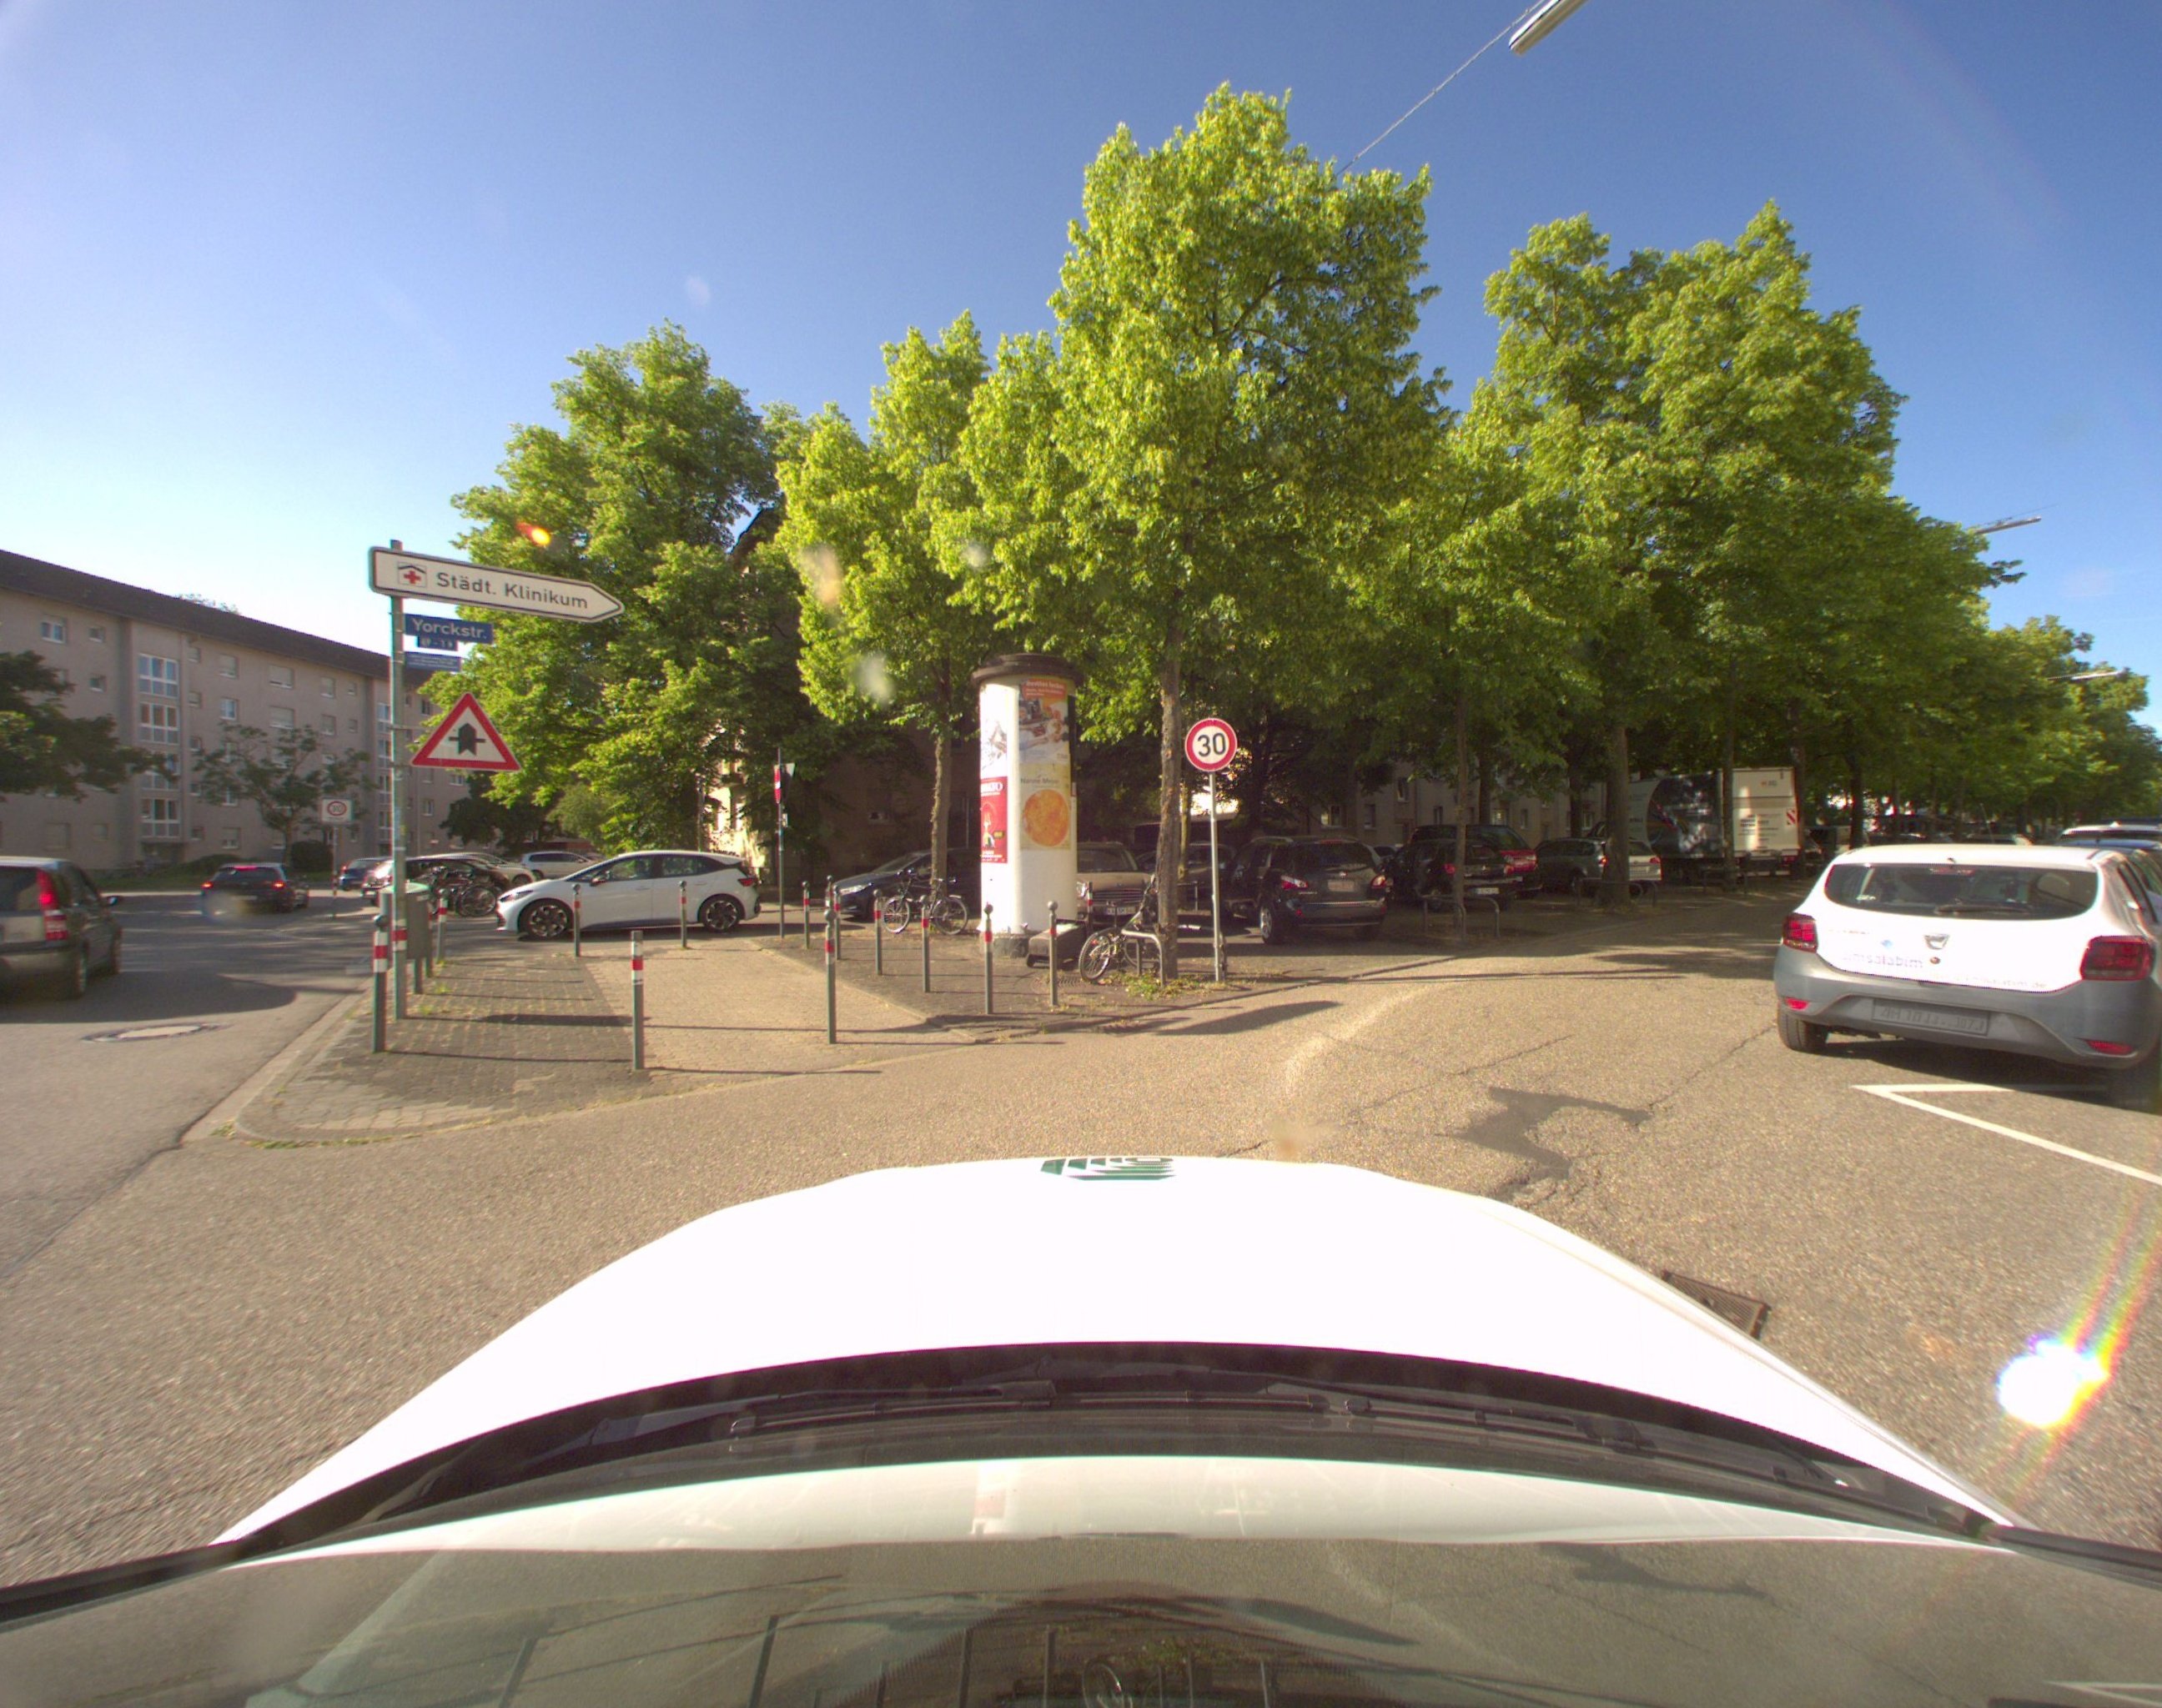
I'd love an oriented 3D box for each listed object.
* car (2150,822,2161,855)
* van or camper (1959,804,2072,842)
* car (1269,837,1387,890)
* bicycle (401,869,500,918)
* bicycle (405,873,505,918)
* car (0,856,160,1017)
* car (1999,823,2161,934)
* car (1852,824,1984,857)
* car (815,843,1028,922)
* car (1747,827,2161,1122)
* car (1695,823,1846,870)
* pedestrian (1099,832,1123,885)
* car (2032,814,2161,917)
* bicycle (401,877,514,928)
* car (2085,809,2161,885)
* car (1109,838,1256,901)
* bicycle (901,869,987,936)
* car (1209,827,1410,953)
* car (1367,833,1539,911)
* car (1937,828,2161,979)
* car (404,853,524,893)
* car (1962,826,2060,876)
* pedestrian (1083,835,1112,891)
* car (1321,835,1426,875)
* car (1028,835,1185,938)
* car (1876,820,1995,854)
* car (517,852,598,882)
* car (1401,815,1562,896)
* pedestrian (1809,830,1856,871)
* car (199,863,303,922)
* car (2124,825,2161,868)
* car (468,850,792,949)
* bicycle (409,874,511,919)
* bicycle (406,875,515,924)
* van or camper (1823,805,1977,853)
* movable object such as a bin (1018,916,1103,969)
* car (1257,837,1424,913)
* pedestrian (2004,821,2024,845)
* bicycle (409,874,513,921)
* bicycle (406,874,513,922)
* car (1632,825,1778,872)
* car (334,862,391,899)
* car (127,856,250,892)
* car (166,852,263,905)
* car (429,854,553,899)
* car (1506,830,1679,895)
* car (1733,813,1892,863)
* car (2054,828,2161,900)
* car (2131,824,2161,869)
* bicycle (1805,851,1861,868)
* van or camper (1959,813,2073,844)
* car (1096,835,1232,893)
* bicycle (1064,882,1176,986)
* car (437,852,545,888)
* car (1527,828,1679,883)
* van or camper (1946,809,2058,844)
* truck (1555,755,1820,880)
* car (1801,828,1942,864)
[{"bbox_3d":[52.424,-0.772,38.859,4.178,1.528,1.708,-2,1,-38],"label":"car"},{"bbox_3d":[85.983,-2.775,75.125,2.484,3.240,6.664,-1,0,-6],"label":"van or camper"},{"bbox_3d":[7.788,0.253,25.515,3.971,1.486,1.738,-2,1,-42],"label":"car"},{"bbox_3d":[-17.042,1.030,22.049,2.046,1.177,0.660,-3,1,-44],"label":"bicycle"},{"bbox_3d":[-16.548,1.074,21.578,2.046,1.031,0.443,-3,1,-44],"label":"bicycle"},{"bbox_3d":[-11.796,0.830,9.042,1.630,1.561,3.219,-2,1,-41],"label":"car"},{"bbox_3d":[15.714,0.275,12.662,4.463,1.463,1.787,-2,1,-40],"label":"car"},{"bbox_3d":[39.894,-0.649,38.999,1.706,1.461,4.420,0,1,-2],"label":"car"},{"bbox_3d":[-3.541,0.562,18.420,4.318,1.518,1.888,-2,1,-35],"label":"car"},{"bbox_3d":[6.761,0.589,6.072,4.039,1.497,1.706,-2,1,-34],"label":"car"},{"bbox_3d":[24.067,-0.299,28.635,1.724,1.506,4.104,-1,1,-3],"label":"car"},{"bbox_3d":[0.974,0.143,26.722,0.738,1.735,0.539,-1,0,-2],"label":"pedestrian"},{"bbox_3d":[19.848,0.147,15.674,4.531,1.753,1.748,-2,1,-37],"label":"car"},{"bbox_3d":[-14.720,1.123,19.275,2.046,1.031,0.564,-3,1,-44],"label":"bicycle"},{"bbox_3d":[28.680,-0.233,21.820,4.866,1.900,1.934,-2,1,-35],"label":"car"},{"bbox_3d":[2.785,0.361,21.851,3.971,1.486,1.738,-2,1,-42],"label":"car"},{"bbox_3d":[-2.421,0.830,14.508,0.349,1.072,1.602,-1,1,44],"label":"bicycle"},{"bbox_3d":[3.553,0.421,13.577,1.828,1.671,4.330,-1,3,-5],"label":"car"},{"bbox_3d":[7.995,0.326,17.923,1.753,1.480,3.816,-1,1,-6],"label":"car"},{"bbox_3d":[11.725,0.453,9.684,3.688,1.463,1.585,-2,1,-35],"label":"car"},{"bbox_3d":[-25.731,0.757,34.083,1.600,1.481,3.616,-1,1,30],"label":"car"},{"bbox_3d":[30.155,-0.123,26.381,3.602,1.503,1.783,-2,0,-36],"label":"car"},{"bbox_3d":[0.517,0.271,25.892,0.542,1.735,0.734,-2,1,-39],"label":"pedestrian"},{"bbox_3d":[11.713,0.013,32.526,4.362,1.435,1.751,-2,1,-35],"label":"car"},{"bbox_3d":[0.317,0.504,15.192,1.919,1.610,3.981,-2,0,-14],"label":"car"},{"bbox_3d":[45.034,-0.885,43.036,1.751,1.679,4.139,-1,1,-6],"label":"car"},{"bbox_3d":[-28.705,0.682,44.805,3.603,1.481,1.606,-2,1,-30],"label":"car"},{"bbox_3d":[10.267,-0.001,21.319,1.924,1.873,4.501,-1,1,-1],"label":"car"},{"bbox_3d":[25.865,-0.123,28.031,0.924,1.396,0.752,-1,1,-4],"label":"pedestrian"},{"bbox_3d":[-24.156,1.059,23.823,1.692,1.508,3.715,-2,1,-39],"label":"car"},{"bbox_3d":[37.481,-0.294,28.225,3.880,1.394,1.536,-2,1,-39],"label":"car"},{"bbox_3d":[-8.290,0.742,15.431,5.051,1.518,1.906,-2,1,-29],"label":"car"},{"bbox_3d":[-16.115,1.076,21.177,2.046,1.031,0.443,-3,1,-44],"label":"bicycle"},{"bbox_3d":[-15.108,1.095,19.870,2.046,1.031,0.564,-3,1,-44],"label":"bicycle"},{"bbox_3d":[53.673,-1.558,53.663,2.305,2.929,7.230,-1,0,-8],"label":"van or camper"},{"bbox_3d":[-0.256,1.160,10.871,0.570,0.565,1.121,-1,1,34],"label":"movable object such as a bin"},{"bbox_3d":[5.487,0.380,17.780,1.816,1.422,3.935,-1,1,-11],"label":"car"},{"bbox_3d":[57.314,-1.295,50.010,0.518,1.456,0.614,-1,0,-12],"label":"pedestrian"},{"bbox_3d":[-15.730,1.081,20.720,2.046,1.031,0.443,-3,1,-44],"label":"bicycle"},{"bbox_3d":[-15.456,1.078,20.306,2.046,1.031,0.463,-3,1,-44],"label":"bicycle"},{"bbox_3d":[21.252,-0.218,27.943,1.838,1.502,3.996,-1,1,-3],"label":"car"},{"bbox_3d":[-32.612,1.158,37.050,1.692,1.508,3.555,-2,1,-38],"label":"car"},{"bbox_3d":[-48.736,1.060,44.541,4.397,1.798,2.068,-1,0,0],"label":"car"},{"bbox_3d":[-36.415,0.973,34.352,2.175,2.013,4.375,-2,1,-39],"label":"car"},{"bbox_3d":[-21.461,0.791,29.723,1.600,1.481,3.278,-1,1,30],"label":"car"},{"bbox_3d":[13.279,0.165,21.489,1.802,1.507,4.342,-1,1,-1],"label":"car"},{"bbox_3d":[29.405,-0.651,32.947,2.074,1.864,4.509,-1,1,-10],"label":"car"},{"bbox_3d":[24.261,0.175,18.989,4.257,1.500,1.748,-2,1,-36],"label":"car"},{"bbox_3d":[42.315,-0.330,31.722,4.178,1.686,1.708,-2,1,-38],"label":"car"},{"bbox_3d":[26.283,0.173,28.489,0.407,0.558,1.612,-1,1,-4],"label":"bicycle"},{"bbox_3d":[72.796,-1.949,63.569,2.214,2.275,5.495,-2,0,-11],"label":"van or camper"},{"bbox_3d":[2.687,0.266,25.869,4.266,1.640,1.740,-2,1,-37],"label":"car"},{"bbox_3d":[0.496,0.918,9.742,0.349,1.072,1.602,-1,1,44],"label":"bicycle"},{"bbox_3d":[-26.933,0.703,37.281,1.600,1.481,3.616,-1,1,30],"label":"car"},{"bbox_3d":[15.752,0.007,24.873,1.802,1.507,4.342,-1,1,-1],"label":"car"},{"bbox_3d":[75.604,-2.204,67.008,2.244,2.637,5.876,-1,0,-5],"label":"van or camper"},{"bbox_3d":[18.456,-1.014,25.557,2.533,3.293,7.317,-1,0,-3],"label":"truck"},{"bbox_3d":[34.924,-0.362,36.170,1.778,1.455,4.485,-1,1,-3],"label":"car"}]
